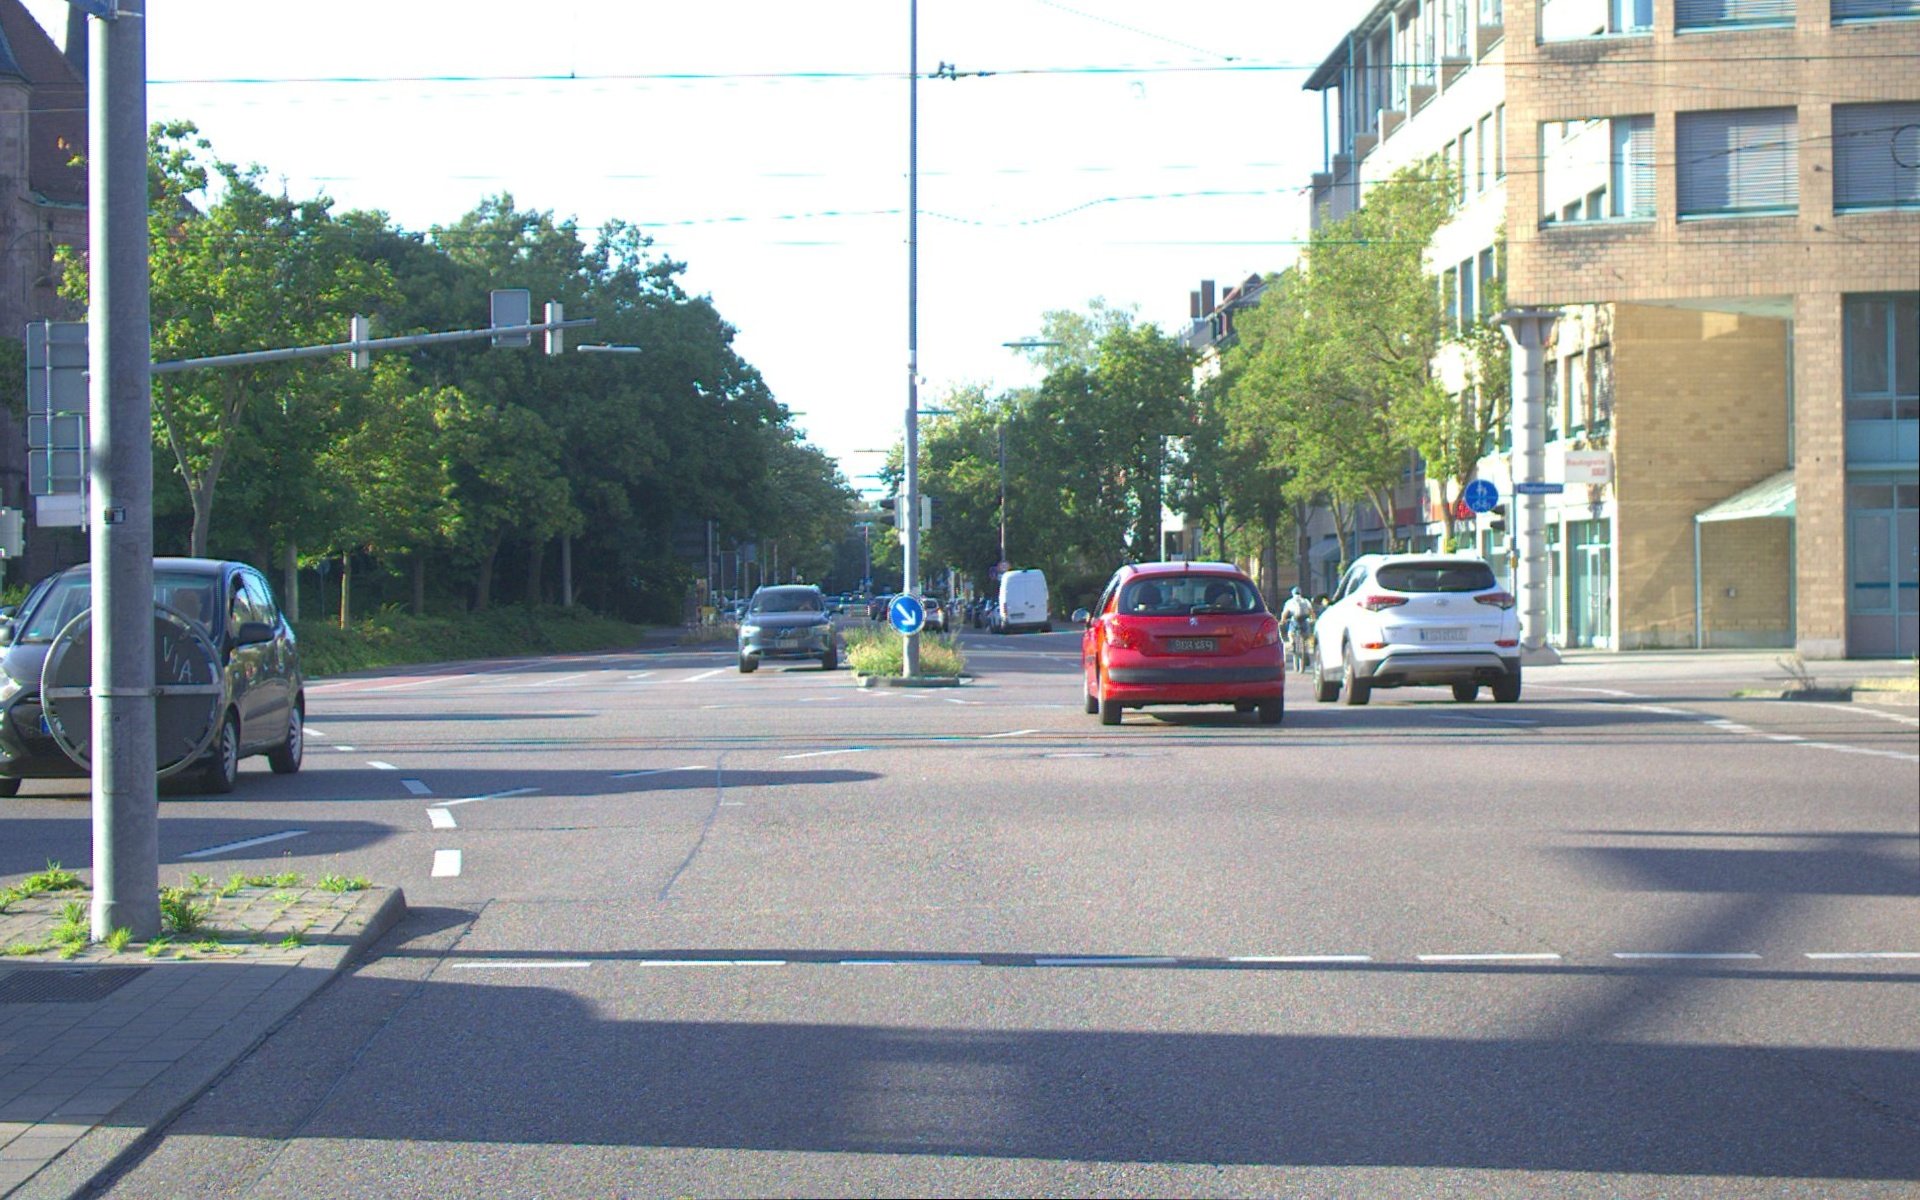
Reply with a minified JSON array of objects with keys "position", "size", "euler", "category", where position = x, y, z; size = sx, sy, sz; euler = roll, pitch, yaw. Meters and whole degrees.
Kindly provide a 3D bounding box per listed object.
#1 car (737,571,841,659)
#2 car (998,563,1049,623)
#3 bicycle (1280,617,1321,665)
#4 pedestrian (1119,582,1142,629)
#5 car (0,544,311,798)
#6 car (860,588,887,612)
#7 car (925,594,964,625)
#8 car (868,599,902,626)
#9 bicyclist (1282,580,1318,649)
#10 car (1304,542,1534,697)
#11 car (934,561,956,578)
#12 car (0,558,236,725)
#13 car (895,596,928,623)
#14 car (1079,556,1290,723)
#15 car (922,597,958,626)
[{"position":[-3.484,0.321,70.799],"size":[1.993,1.718,5.031],"euler":[-1,-1,-1],"category":"car"},{"position":[2.669,-0.291,144.311],"size":[1.993,2.432,4.000],"euler":[1,0,0],"category":"car"},{"position":[6.849,0.820,69.229],"size":[0.592,0.940,1.978],"euler":[1,0,0],"category":"bicycle"},{"position":[6.470,0.208,130.474],"size":[0.847,1.797,0.776],"euler":[0,0,-1],"category":"pedestrian"},{"position":[-5.495,0.419,23.154],"size":[1.578,1.539,3.477],"euler":[-2,1,-1],"category":"car"},{"position":[-6.330,-0.011,251.012],"size":[1.886,1.665,4.000],"euler":[1,0,0],"category":"car"},{"position":[-0.639,0.390,143.372],"size":[1.594,1.263,3.266],"euler":[0,1,0],"category":"car"},{"position":[-3.644,0.582,167.032],"size":[1.594,1.263,3.266],"euler":[0,1,0],"category":"car"},{"position":[6.856,0.286,69.323],"size":[0.592,1.364,0.930],"euler":[1,0,0],"category":"bicyclist"},{"position":[5.042,0.199,38.290],"size":[1.916,1.602,4.269],"euler":[1,0,-1],"category":"car"},{"position":[-1.093,-2.286,254.823],"size":[1.594,1.263,3.266],"euler":[0,1,0],"category":"car"},{"position":[-8.834,0.387,35.759],"size":[1.794,1.560,4.148],"euler":[-1,1,-1],"category":"car"},{"position":[-2.349,0.444,167.403],"size":[1.594,1.263,3.266],"euler":[0,1,0],"category":"car"},{"position":[2.057,0.343,32.449],"size":[1.670,1.457,4.000],"euler":[1,0,-1],"category":"car"},{"position":[-0.916,0.507,156.180],"size":[1.594,1.263,3.266],"euler":[0,1,0],"category":"car"}]
